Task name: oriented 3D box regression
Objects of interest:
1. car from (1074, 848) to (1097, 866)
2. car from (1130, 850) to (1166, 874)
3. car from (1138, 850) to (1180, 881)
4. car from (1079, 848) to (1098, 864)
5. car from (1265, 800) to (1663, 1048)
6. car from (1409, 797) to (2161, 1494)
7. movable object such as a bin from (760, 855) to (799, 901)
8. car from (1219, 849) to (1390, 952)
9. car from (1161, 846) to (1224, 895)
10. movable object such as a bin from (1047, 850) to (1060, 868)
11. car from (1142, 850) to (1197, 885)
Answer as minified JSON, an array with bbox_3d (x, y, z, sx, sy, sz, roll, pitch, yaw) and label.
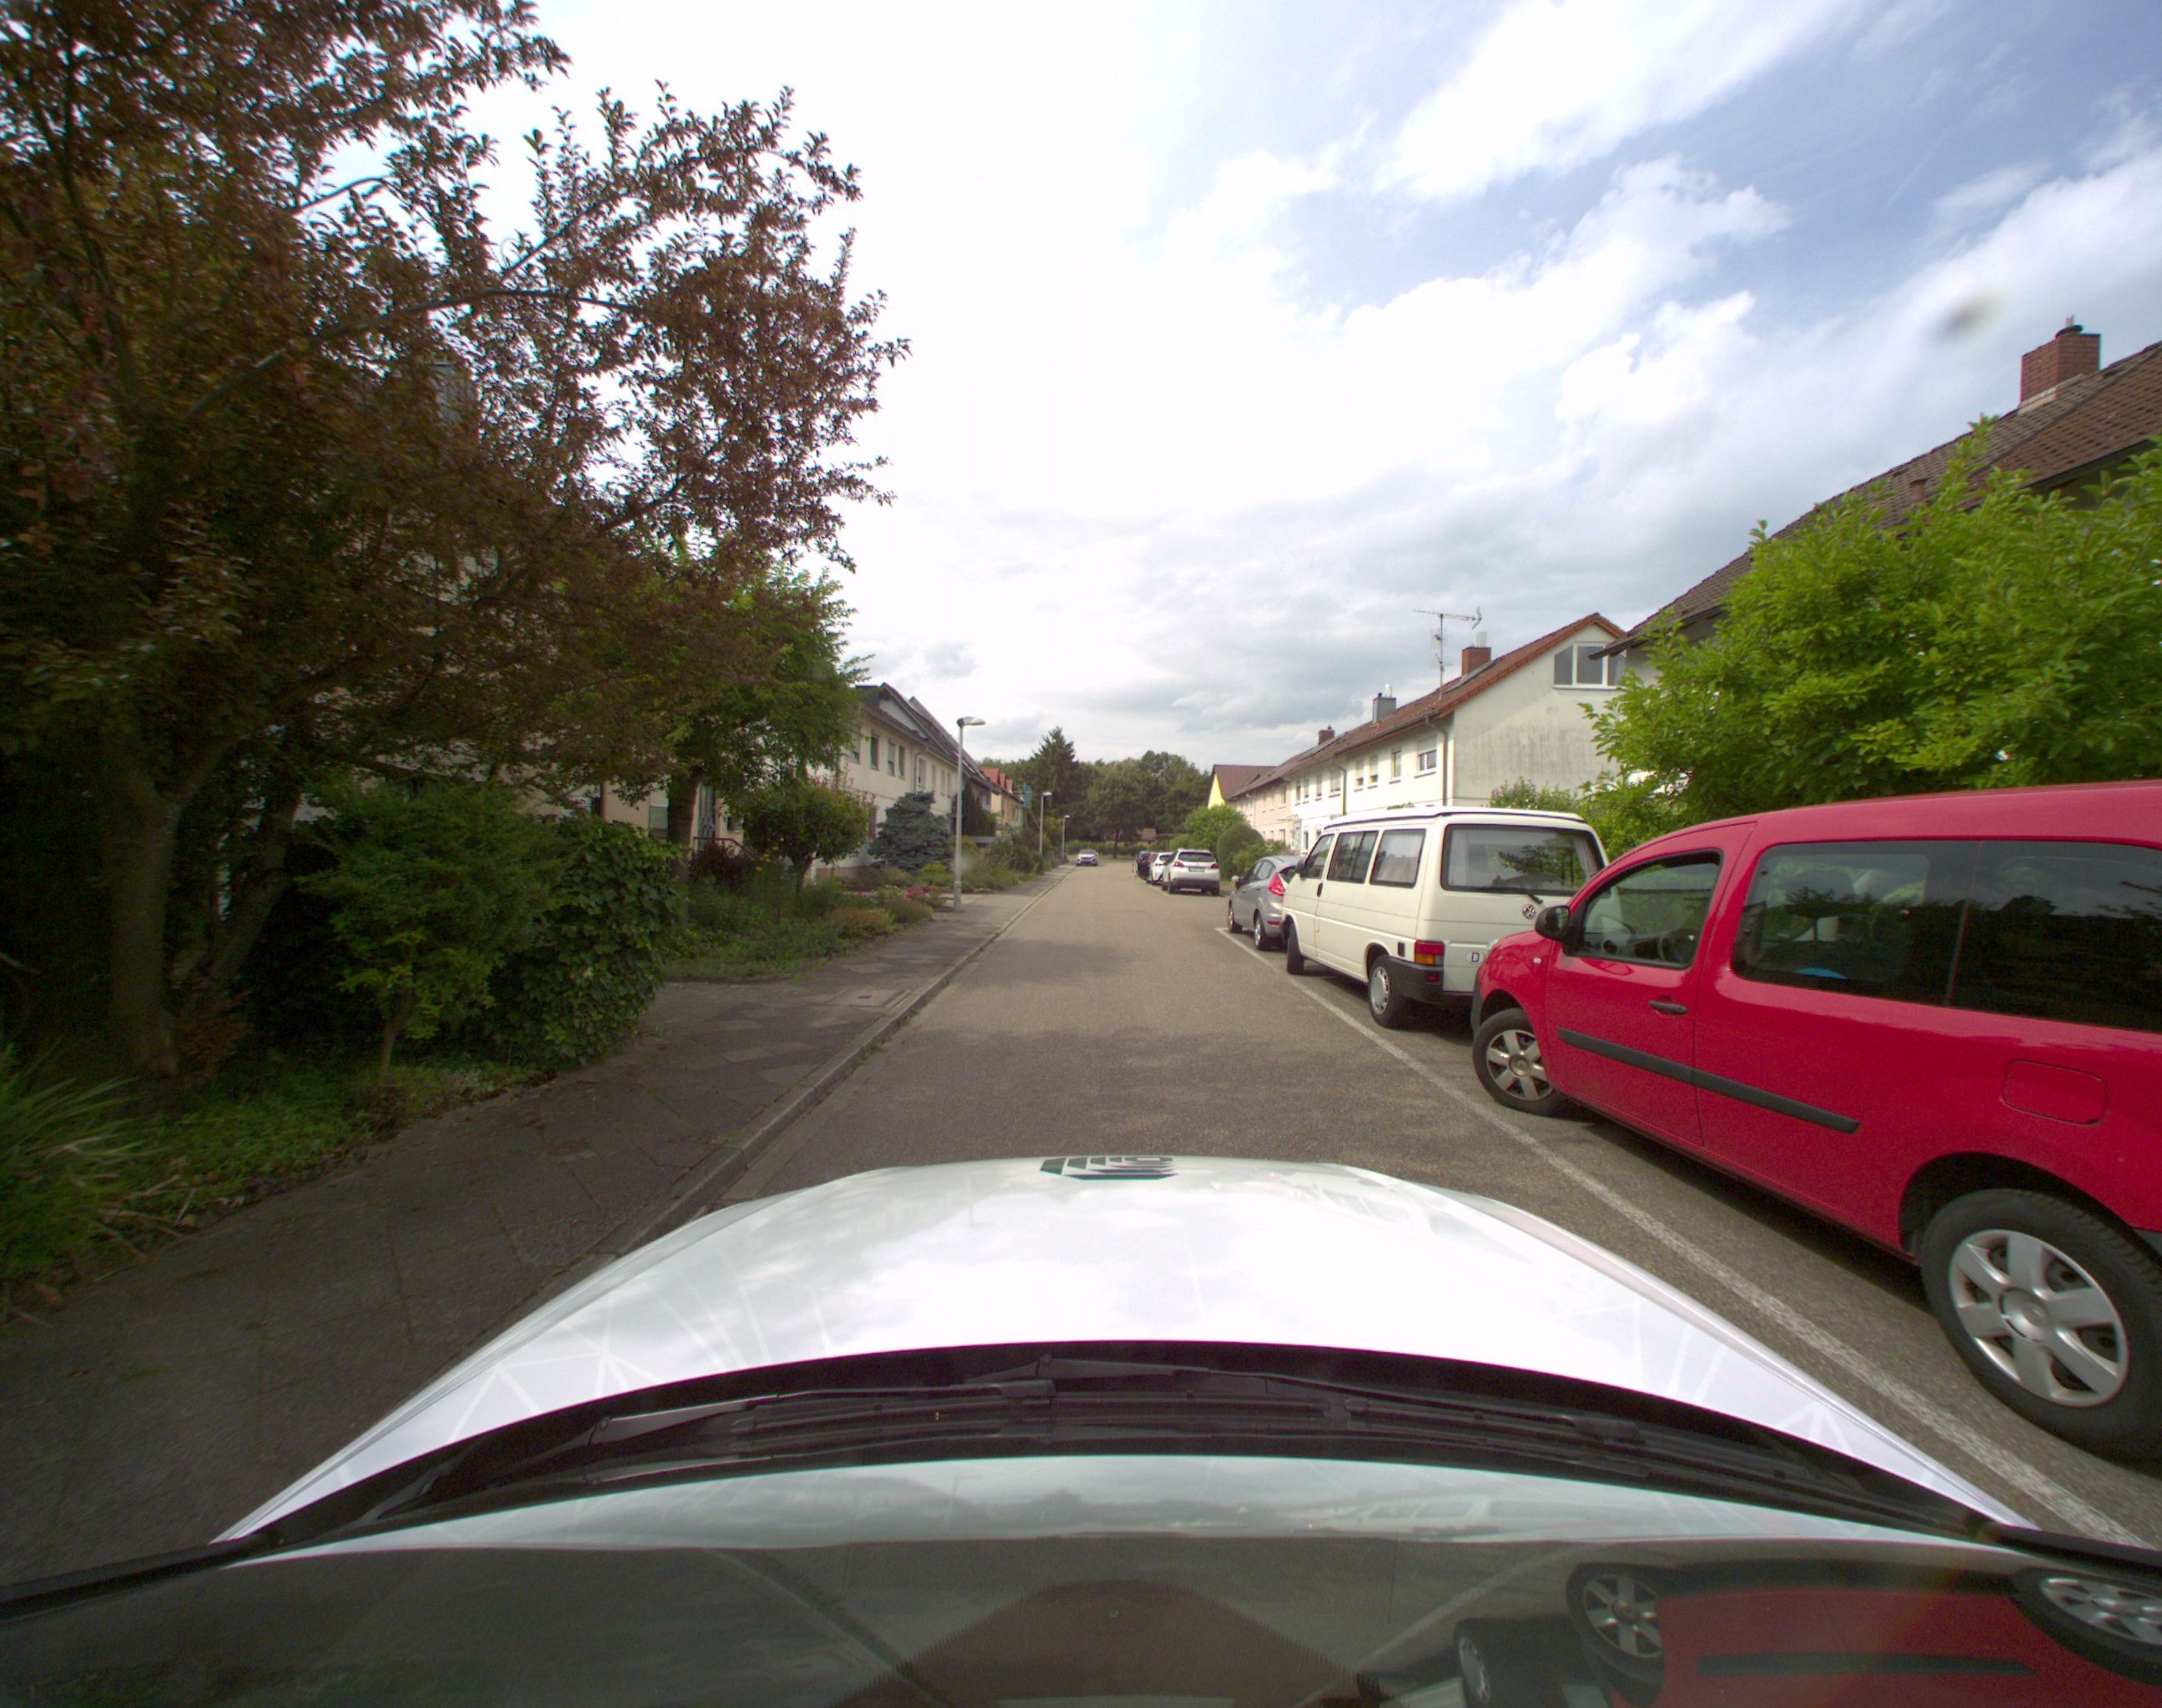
[{"bbox_3d":[0.467,0.218,73.292,1.927,1.556,4.636,0,0,2],"label":"car"},{"bbox_3d":[4.259,0.462,52.348,1.859,1.417,4.251,1,0,-1],"label":"car"},{"bbox_3d":[3.971,0.552,42.016,1.767,1.436,4.827,3,0,1],"label":"car"},{"bbox_3d":[0.786,0.189,84.150,1.785,1.531,4.142,0,0,2],"label":"car"},{"bbox_3d":[3.561,0.532,8.792,2.015,1.947,4.745,0,0,-1],"label":"car"},{"bbox_3d":[3.391,0.679,3.793,1.806,1.651,4.407,0,0,-3],"label":"car"},{"bbox_3d":[-6.621,0.525,17.920,0.650,1.003,0.542,0,0,0],"label":"movable object such as a bin"},{"bbox_3d":[3.594,0.662,13.898,1.893,1.459,4.131,0,0,2],"label":"car"},{"bbox_3d":[3.849,0.523,28.736,1.707,1.543,3.975,3,0,1],"label":"car"},{"bbox_3d":[-2.069,0.397,61.175,0.946,1.312,1.001,0,0,0],"label":"movable object such as a bin"},{"bbox_3d":[3.829,0.540,36.000,1.833,1.413,4.634,0,0,-2],"label":"car"}]
